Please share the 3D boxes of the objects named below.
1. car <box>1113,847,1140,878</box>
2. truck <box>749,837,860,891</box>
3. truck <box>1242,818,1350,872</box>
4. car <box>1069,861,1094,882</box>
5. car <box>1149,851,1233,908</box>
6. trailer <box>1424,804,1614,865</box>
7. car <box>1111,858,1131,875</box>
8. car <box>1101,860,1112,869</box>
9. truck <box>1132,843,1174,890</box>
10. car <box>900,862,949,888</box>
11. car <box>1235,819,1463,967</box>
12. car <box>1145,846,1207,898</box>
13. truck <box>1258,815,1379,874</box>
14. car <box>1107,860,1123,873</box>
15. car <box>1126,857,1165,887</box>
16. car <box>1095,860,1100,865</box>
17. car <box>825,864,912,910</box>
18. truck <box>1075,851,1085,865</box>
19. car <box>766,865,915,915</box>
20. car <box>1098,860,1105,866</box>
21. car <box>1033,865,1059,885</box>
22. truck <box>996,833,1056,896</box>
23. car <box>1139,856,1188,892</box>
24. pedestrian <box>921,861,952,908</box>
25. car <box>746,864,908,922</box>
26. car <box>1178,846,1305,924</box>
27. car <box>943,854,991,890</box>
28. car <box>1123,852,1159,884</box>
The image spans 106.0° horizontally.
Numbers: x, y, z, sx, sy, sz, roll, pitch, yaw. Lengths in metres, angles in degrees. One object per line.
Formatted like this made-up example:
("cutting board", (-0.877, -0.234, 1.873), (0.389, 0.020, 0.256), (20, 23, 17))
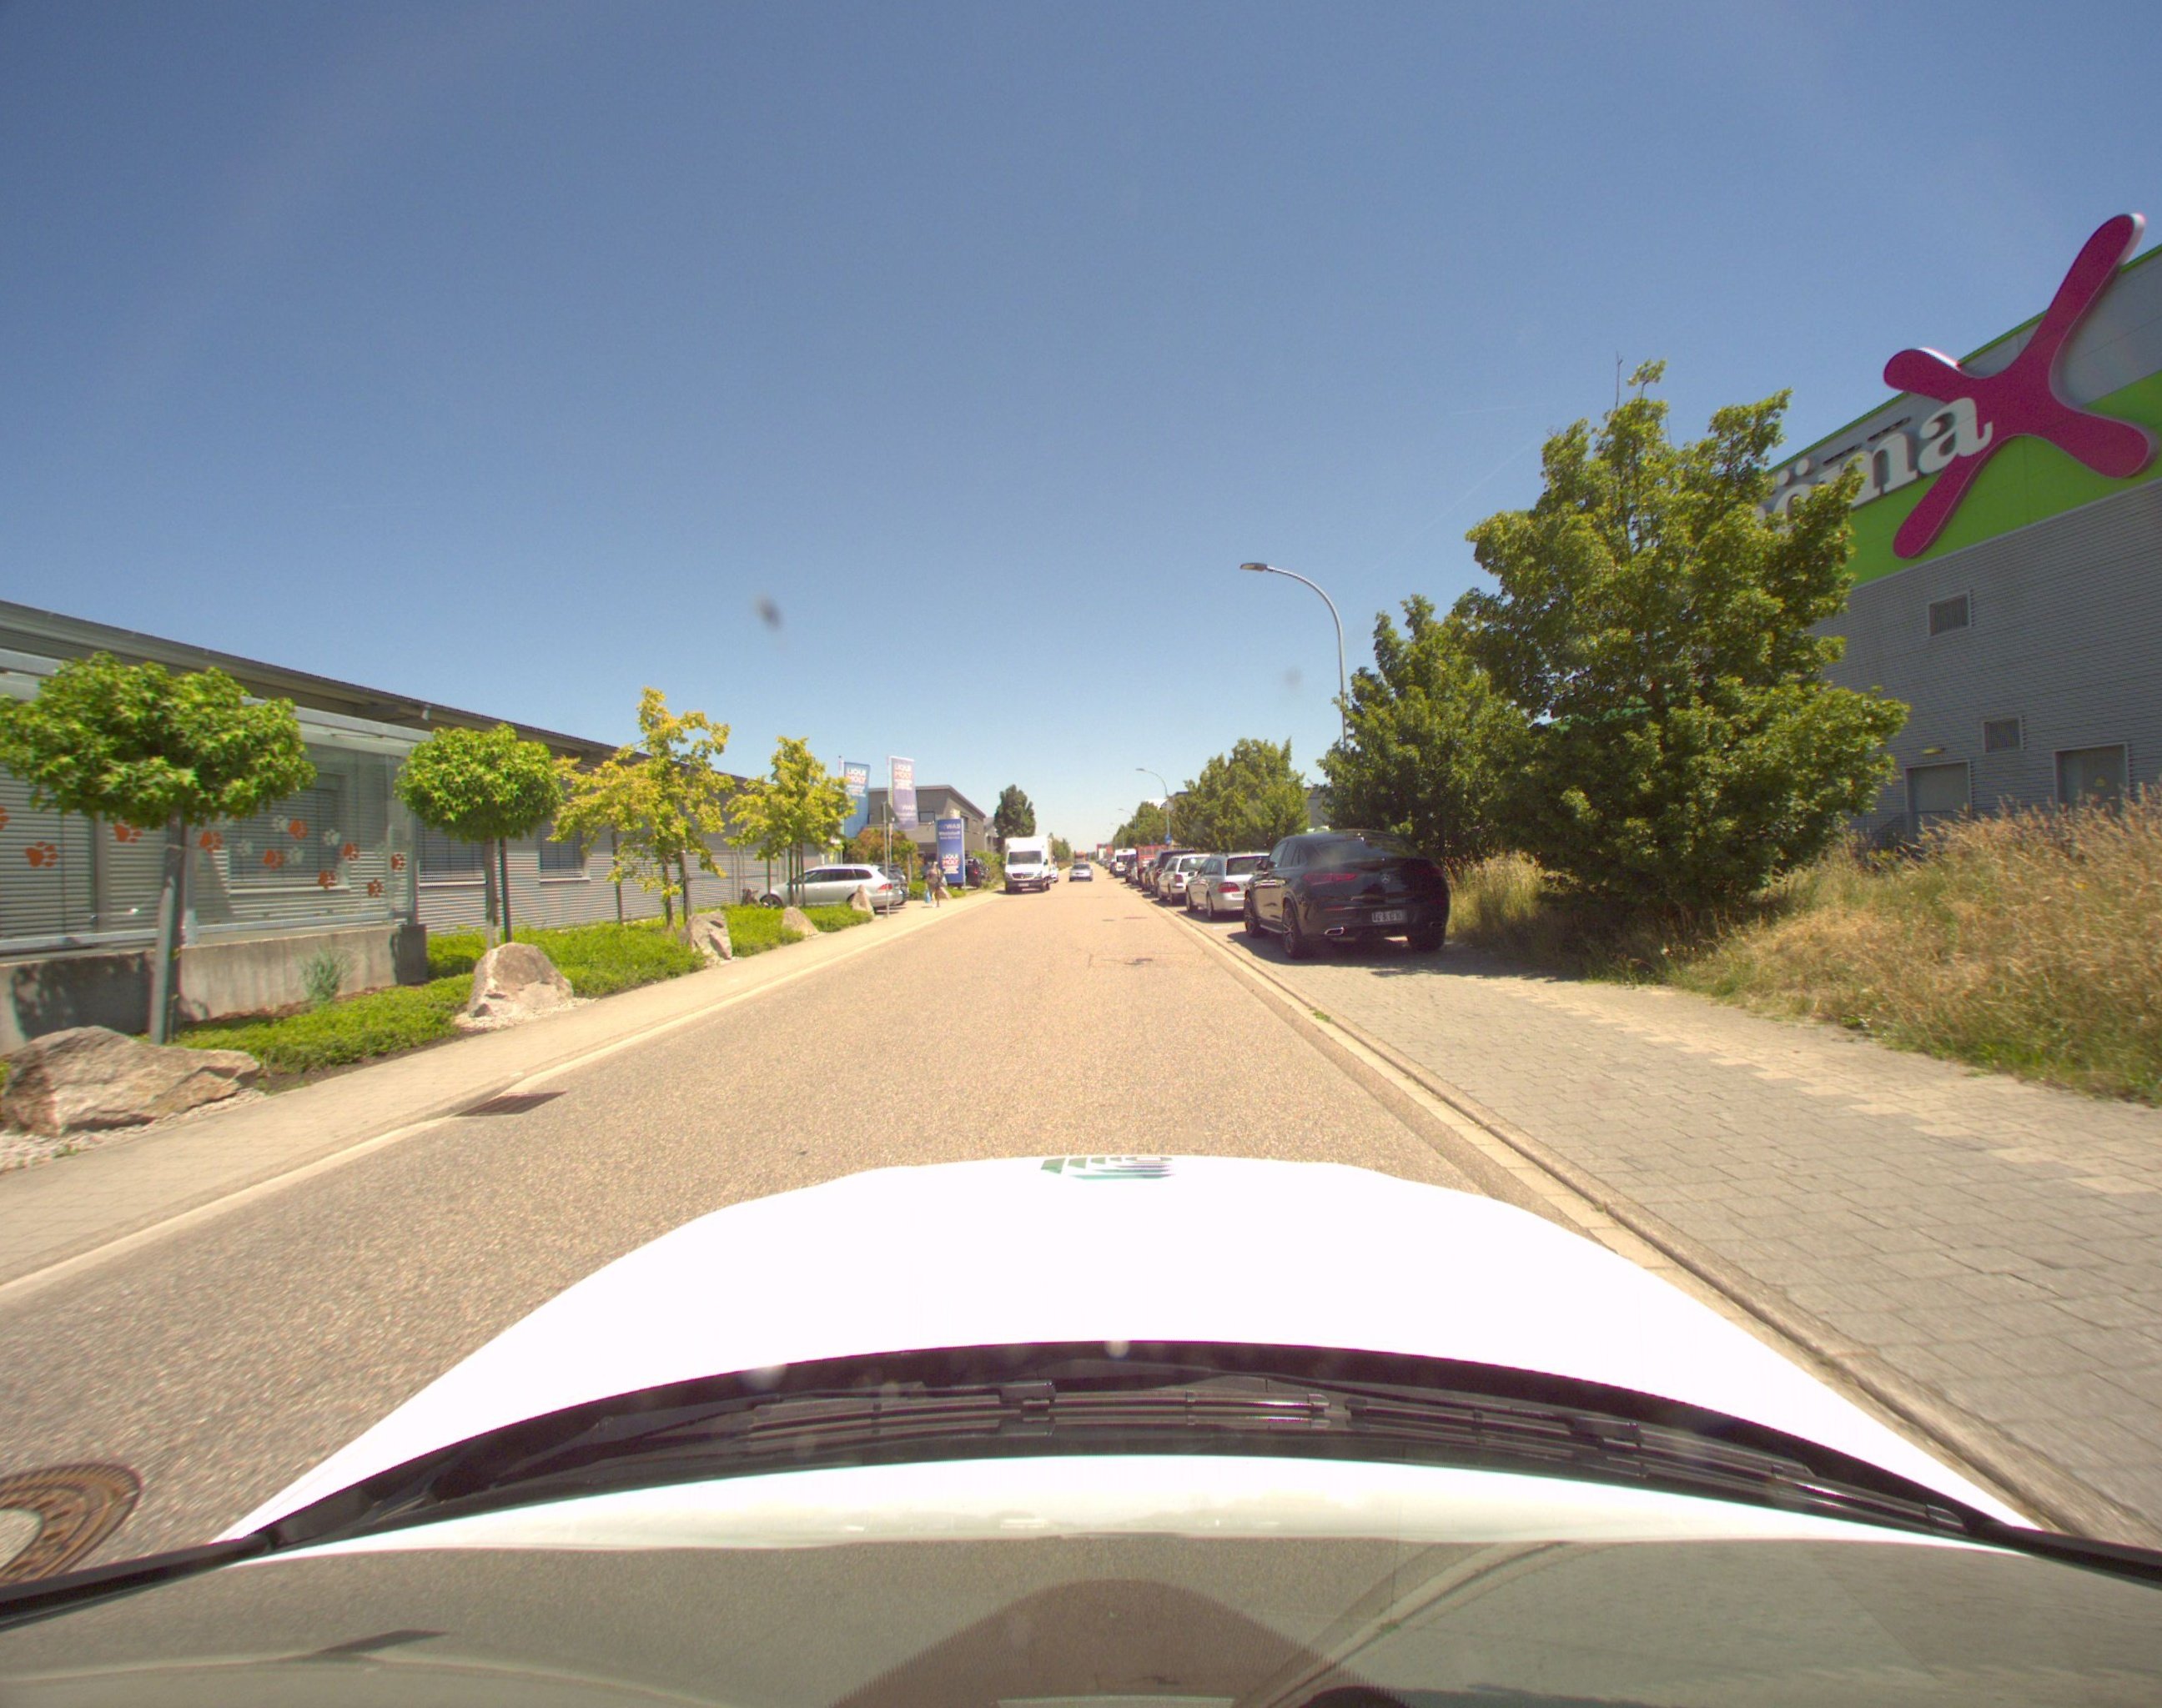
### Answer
("car", (4.120, 0.774, 74.083), (2.258, 2.497, 6.155), (-3, -1, 3))
("truck", (-19.219, 0.751, 56.438), (7.961, 3.557, 2.602), (-2, -1, 29))
("truck", (13.024, -0.497, 49.569), (5.803, 2.913, 2.414), (-3, -1, -1))
("car", (0.068, 1.360, 63.796), (1.778, 1.422, 4.412), (-5, -1, 0))
("car", (3.313, 0.742, 25.458), (1.710, 1.483, 4.769), (-4, 0, -2))
("trailer", (32.594, -1.387, 60.920), (12.575, 3.875, 2.804), (-2, -2, 0))
("car", (4.486, 1.399, 91.130), (1.987, 1.825, 4.353), (-3, -1, 0))
("car", (4.415, 1.842, 140.219), (1.712, 1.450, 3.646), (-3, -1, 0))
("truck", (3.666, 0.638, 42.292), (1.673, 2.181, 4.389), (-4, -1, 0))
("car", (-9.255, 1.203, 48.423), (1.925, 1.416, 4.769), (-1, -1, 0))
("car", (3.746, 0.491, 12.359), (1.942, 1.701, 4.546), (-4, 0, 1))
("car", (3.551, 0.644, 31.110), (1.805, 1.725, 4.774), (-4, 0, 1))
("truck", (13.132, -0.495, 45.266), (5.888, 2.872, 2.304), (-3, -1, -3))
("car", (4.371, 1.612, 103.469), (1.701, 1.504, 4.713), (-3, -1, 5))
("car", (3.652, 1.013, 46.782), (1.733, 1.530, 3.998), (-4, -1, -1))
("car", (5.131, 2.604, 251.846), (1.490, 1.409, 3.500), (-3, 0, 0))
("car", (-7.697, 1.194, 29.679), (2.733, 1.518, 1.535), (-2, -1, -1))
("truck", (-0.173, 1.082, 212.824), (2.440, 3.513, 8.272), (-4, 0, 0))
("car", (-7.890, 1.169, 26.937), (4.293, 1.431, 1.847), (-2, -1, 1))
("car", (4.709, 2.073, 187.517), (1.580, 1.409, 3.500), (-3, 0, 0))
("car", (-2.704, 1.658, 64.019), (1.724, 1.458, 4.491), (-2, -1, 0))
("truck", (-2.736, 0.550, 42.283), (2.353, 2.860, 6.416), (-5, -1, 1))
("car", (3.634, 0.848, 36.567), (1.692, 1.383, 4.837), (-4, -1, 1))
("pedestrian", (-4.962, 1.045, 27.933), (0.896, 1.574, 0.786), (-1, -1, 1))
("car", (-7.584, 1.155, 24.628), (4.249, 1.518, 1.865), (-2, -1, -1))
("car", (3.606, 0.662, 19.267), (1.800, 1.483, 4.769), (-4, 0, -2))
("car", (-6.641, 1.038, 47.943), (1.987, 1.956, 5.218), (-2, -1, 0))
("car", (3.836, 0.888, 52.827), (1.987, 1.884, 5.156), (-4, -1, 1))
